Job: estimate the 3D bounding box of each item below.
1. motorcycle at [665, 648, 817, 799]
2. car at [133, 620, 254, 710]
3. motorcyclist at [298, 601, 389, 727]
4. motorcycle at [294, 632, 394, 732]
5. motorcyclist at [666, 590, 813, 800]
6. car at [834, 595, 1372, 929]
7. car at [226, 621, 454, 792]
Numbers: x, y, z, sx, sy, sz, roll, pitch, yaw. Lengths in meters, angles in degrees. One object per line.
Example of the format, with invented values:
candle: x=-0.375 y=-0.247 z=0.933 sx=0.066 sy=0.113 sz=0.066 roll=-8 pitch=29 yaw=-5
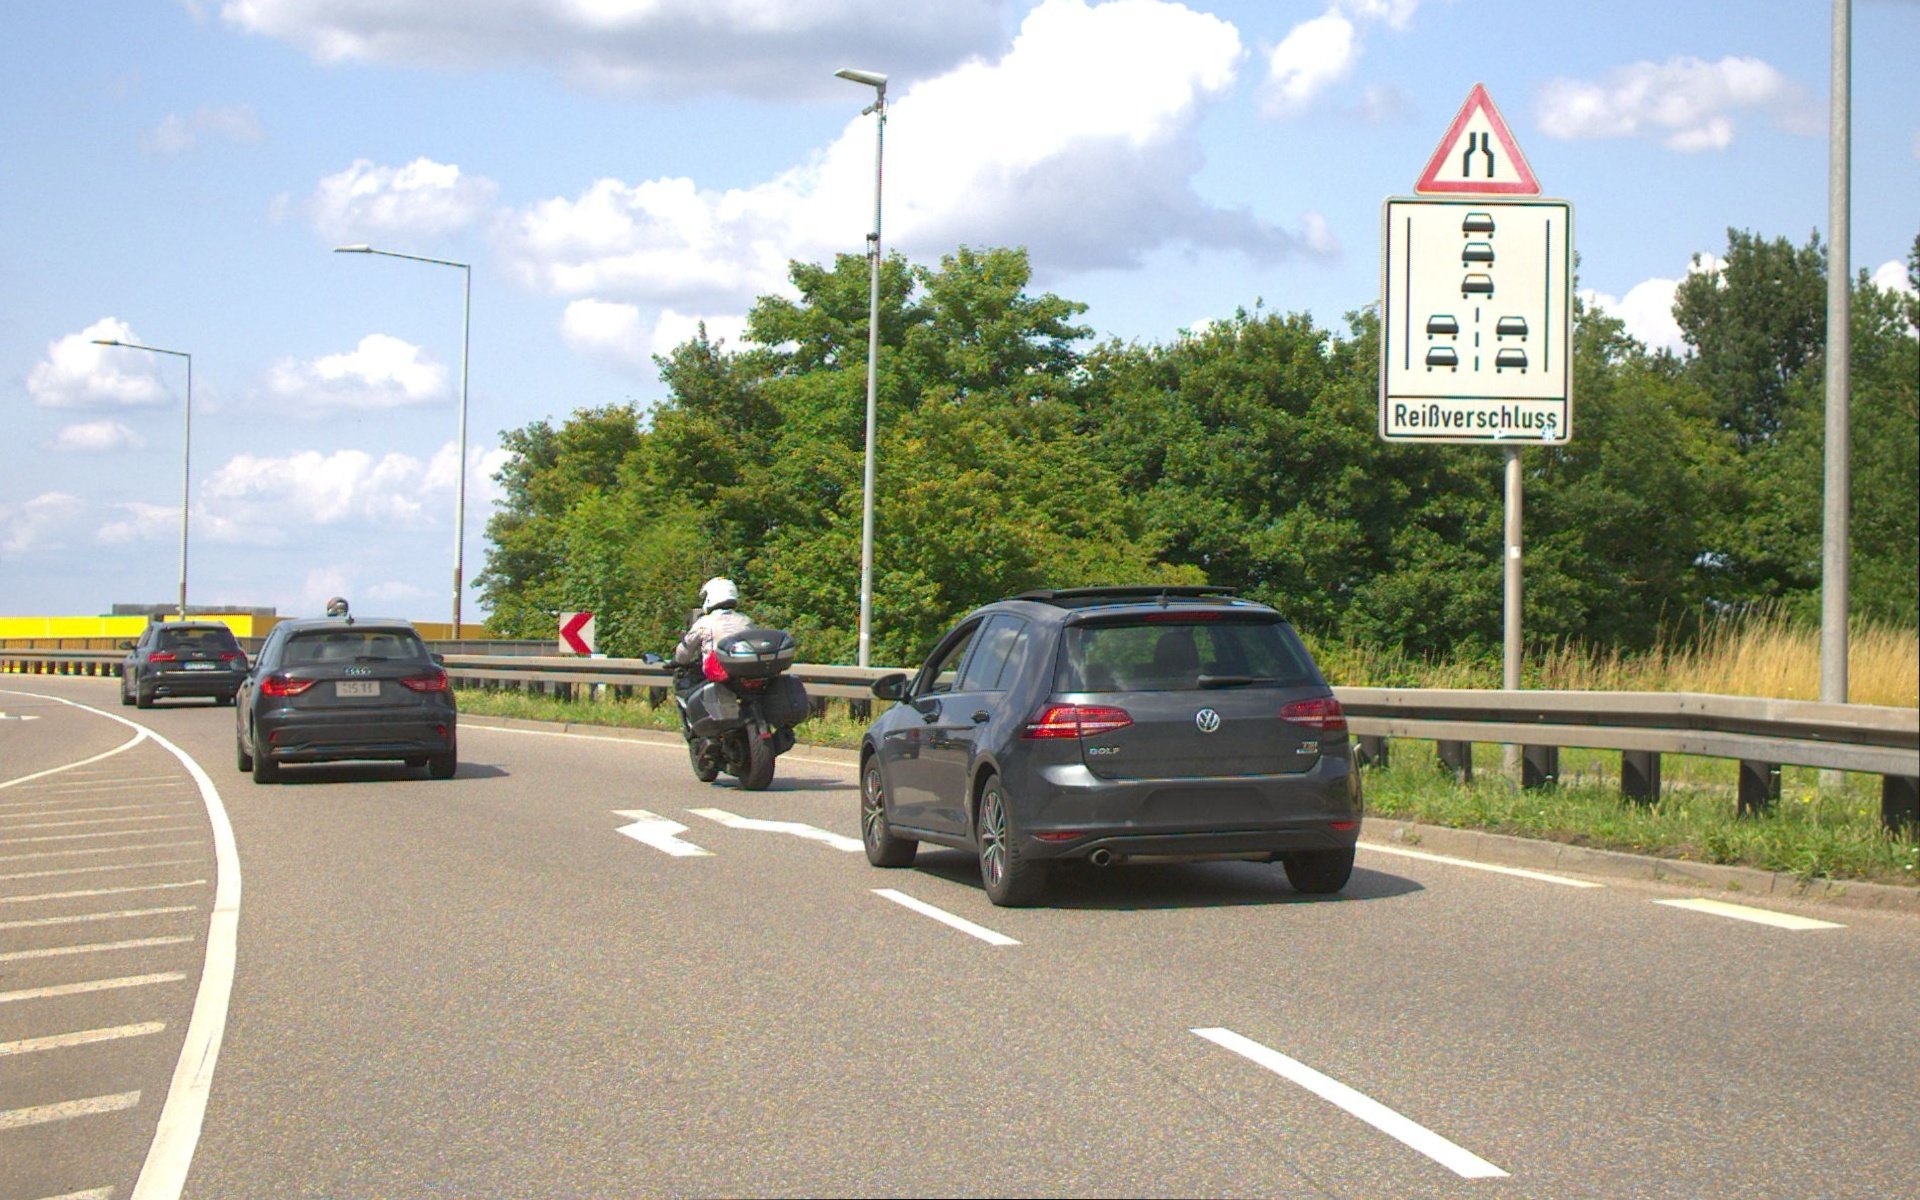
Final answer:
motorcycle: x=-1.756 y=0.950 z=27.177 sx=0.789 sy=1.128 sz=2.400 roll=0 pitch=-1 yaw=-14
car: x=-13.000 y=1.102 z=58.180 sx=1.642 sy=1.474 sz=3.873 roll=0 pitch=-1 yaw=-18
motorcyclist: x=-7.883 y=0.819 z=43.928 sx=0.965 sy=1.591 sz=1.125 roll=0 pitch=-1 yaw=-19
motorcycle: x=-7.882 y=1.031 z=43.881 sx=0.887 sy=1.243 sz=2.400 roll=0 pitch=-1 yaw=-19
motorcyclist: x=-1.754 y=0.744 z=27.191 sx=0.965 sy=1.615 sz=1.125 roll=0 pitch=-1 yaw=-14
car: x=0.589 y=0.753 z=17.296 sx=1.642 sy=1.474 sz=3.873 roll=0 pitch=-1 yaw=-14
car: x=-5.533 y=0.929 z=30.399 sx=1.681 sy=1.383 sz=3.740 roll=-1 pitch=-1 yaw=-15
